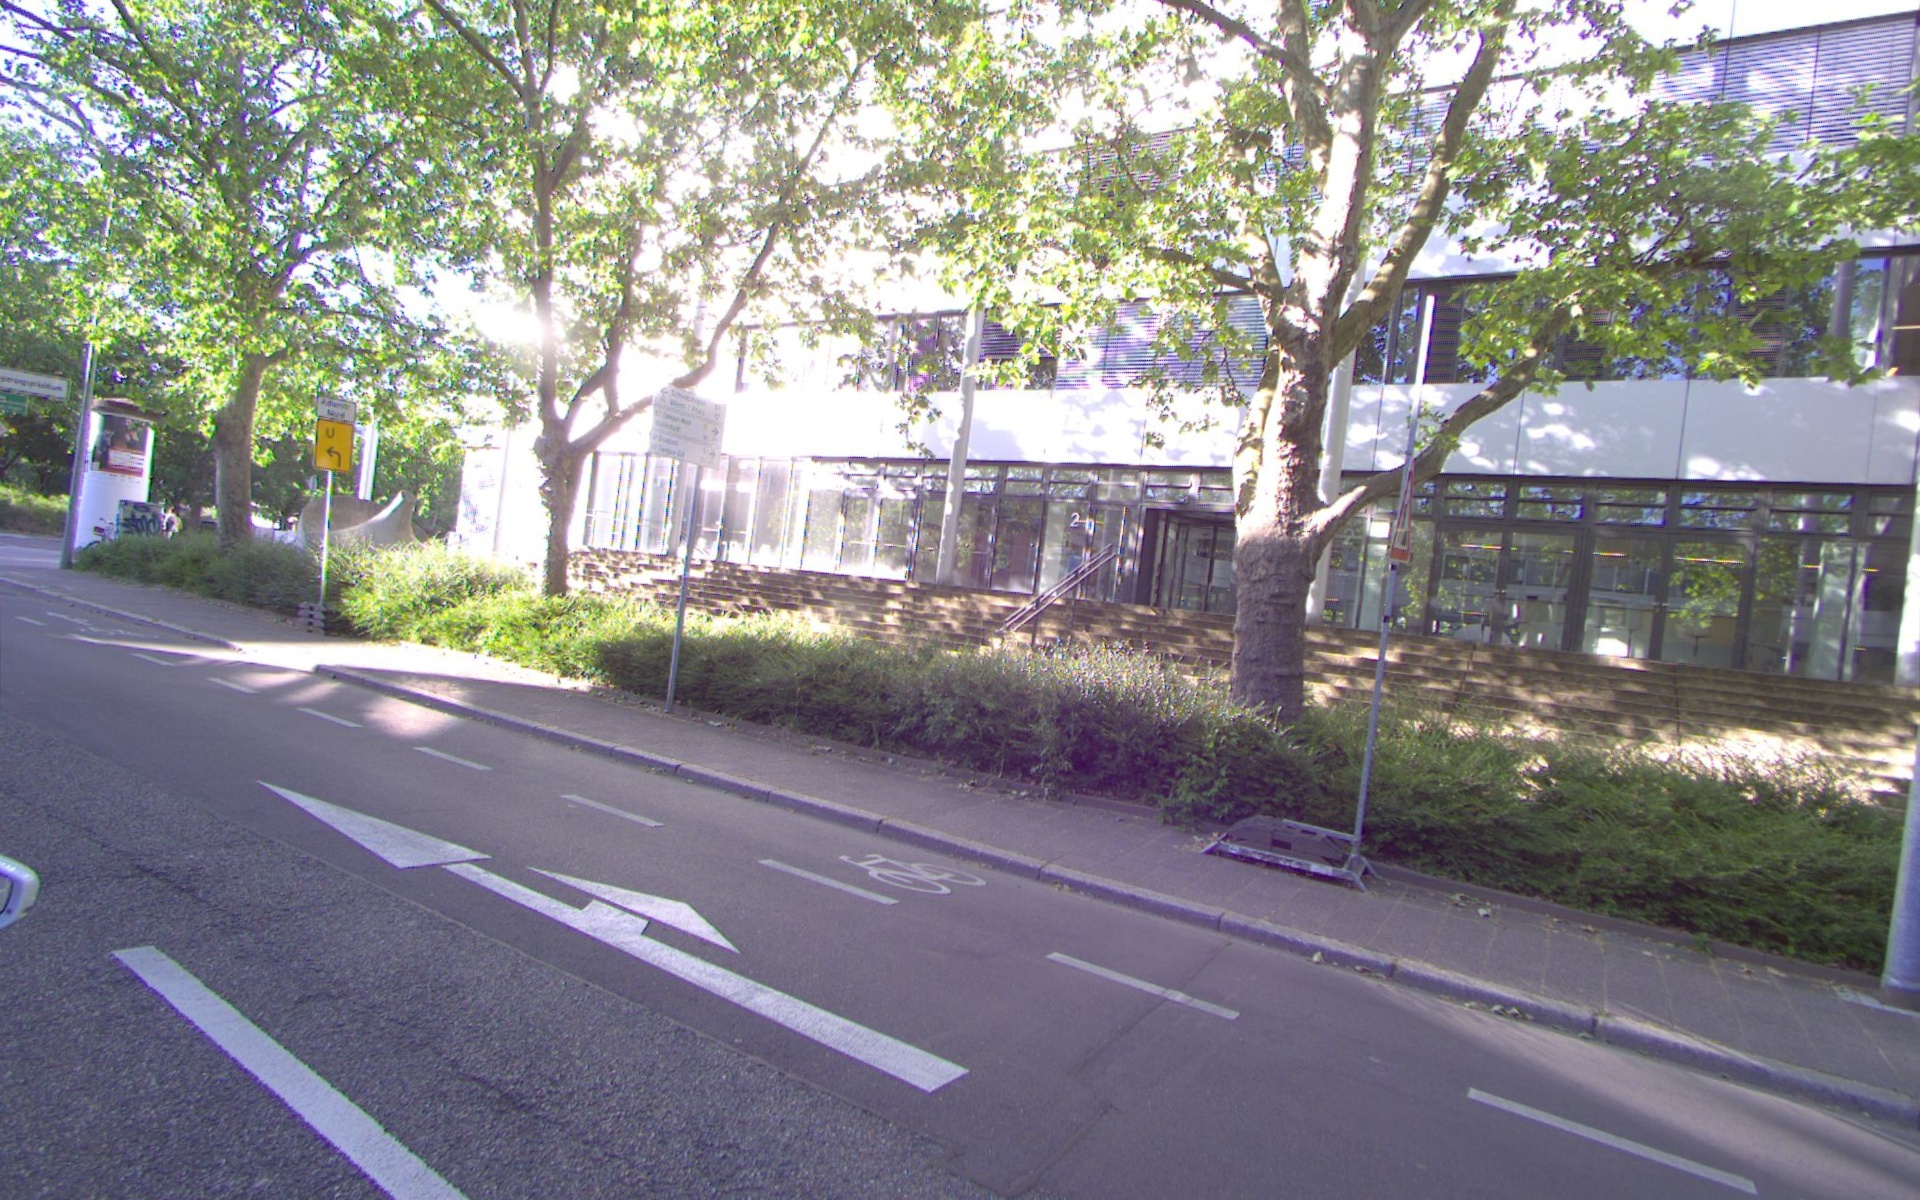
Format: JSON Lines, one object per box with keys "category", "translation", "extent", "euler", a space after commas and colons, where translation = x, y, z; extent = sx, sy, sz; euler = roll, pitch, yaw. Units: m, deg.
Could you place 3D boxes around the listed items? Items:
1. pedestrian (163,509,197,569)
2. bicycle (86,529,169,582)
{"category": "pedestrian", "translation": [-25.773, -2.022, 33.246], "extent": [0.584, 1.871, 0.552], "euler": [7, 0, 33]}
{"category": "bicycle", "translation": [-19.229, -1.012, 23.251], "extent": [0.357, 1.036, 1.354], "euler": [7, -1, 33]}
